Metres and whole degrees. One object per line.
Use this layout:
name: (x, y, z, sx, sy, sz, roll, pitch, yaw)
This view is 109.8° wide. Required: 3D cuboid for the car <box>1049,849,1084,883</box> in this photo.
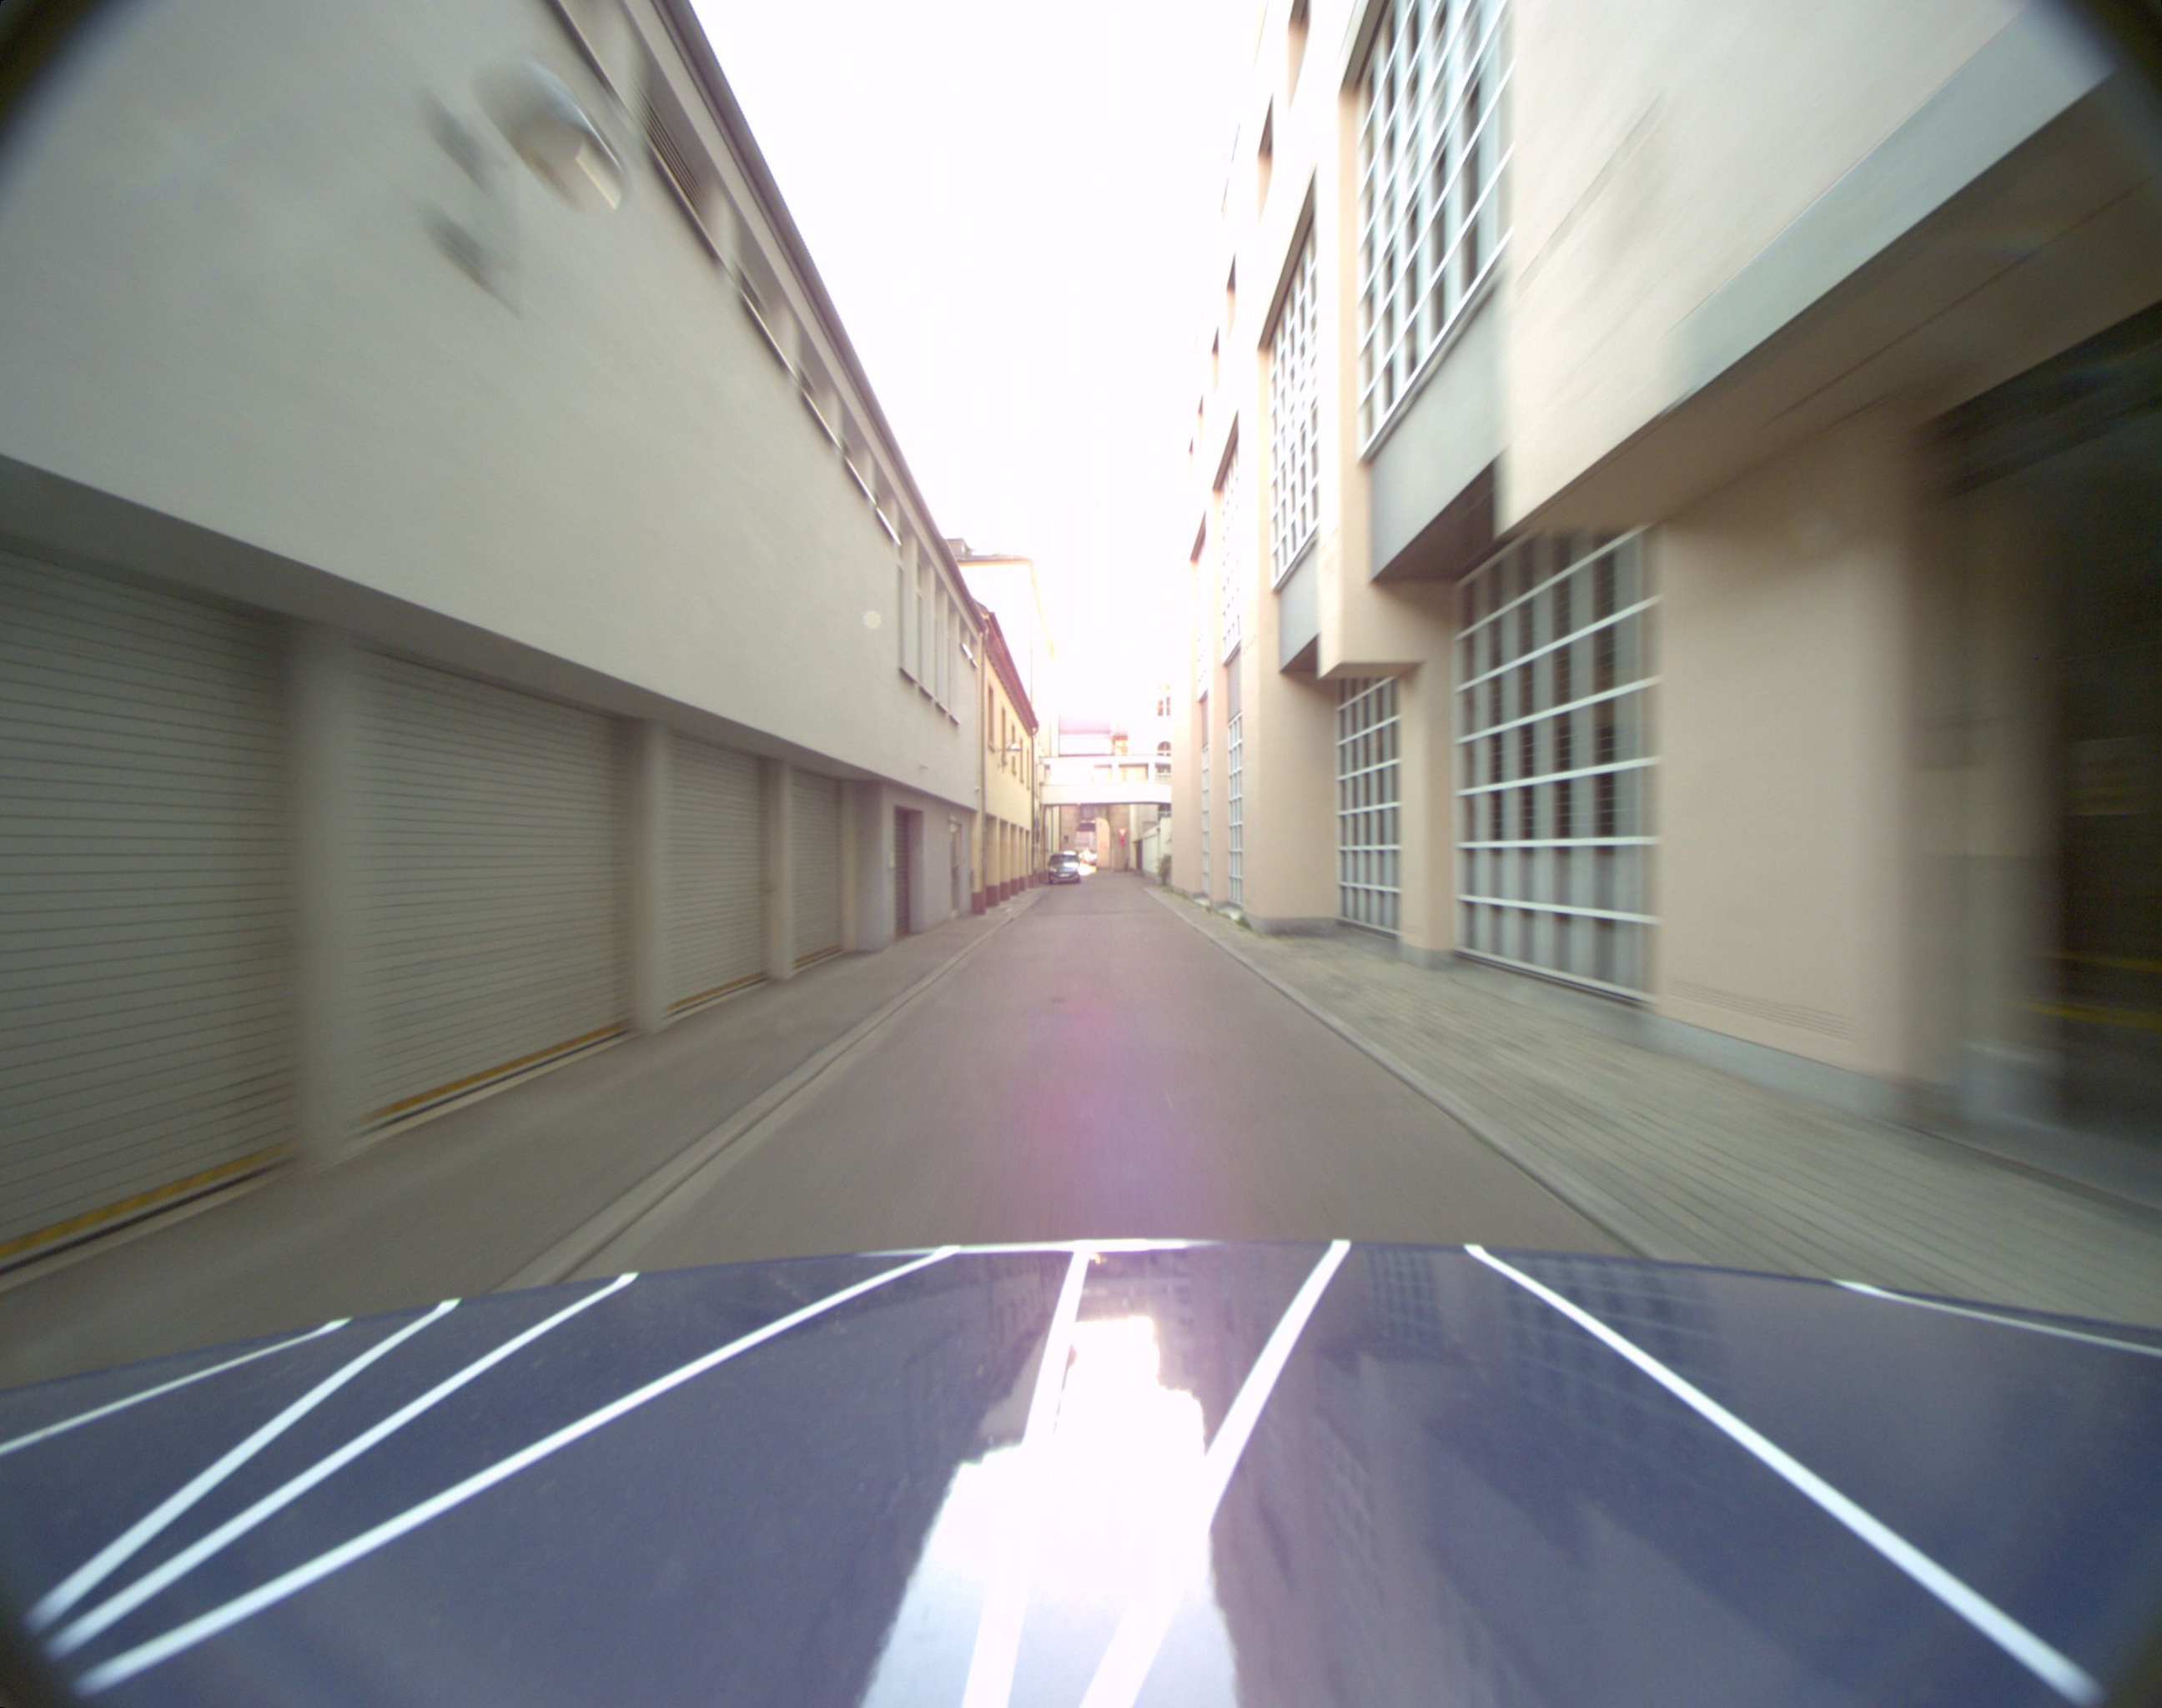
car: (-0.762, 0.645, 43.253, 1.764, 1.756, 4.750, -2, 0, 0)
